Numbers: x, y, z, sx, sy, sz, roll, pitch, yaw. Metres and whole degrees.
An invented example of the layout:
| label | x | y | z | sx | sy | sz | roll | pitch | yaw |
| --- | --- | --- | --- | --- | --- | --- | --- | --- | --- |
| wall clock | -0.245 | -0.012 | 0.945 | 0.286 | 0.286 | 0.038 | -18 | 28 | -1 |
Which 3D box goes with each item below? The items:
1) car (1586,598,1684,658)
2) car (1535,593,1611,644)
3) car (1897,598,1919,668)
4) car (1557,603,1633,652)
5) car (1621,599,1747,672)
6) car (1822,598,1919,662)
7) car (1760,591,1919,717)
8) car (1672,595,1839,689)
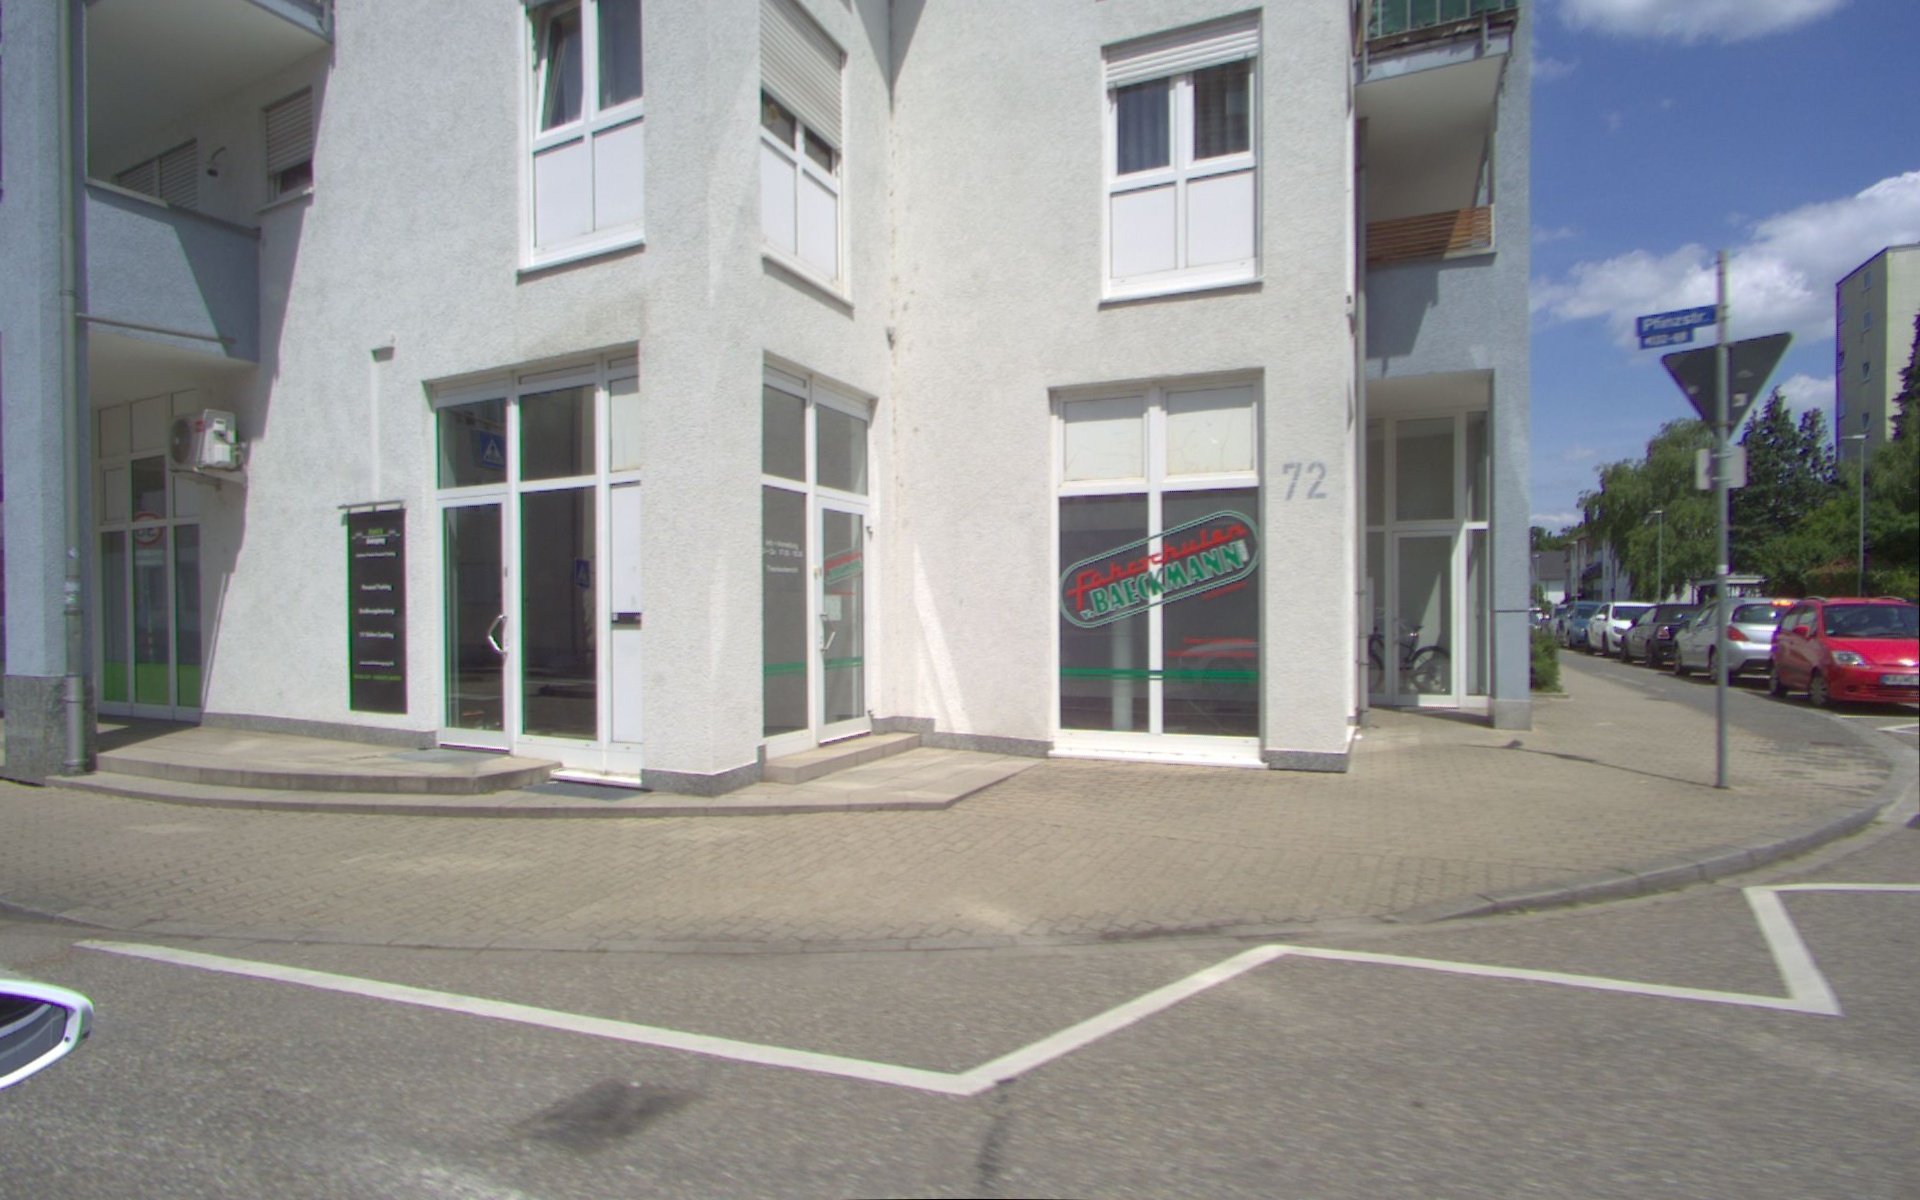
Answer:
| label | x | y | z | sx | sy | sz | roll | pitch | yaw |
| --- | --- | --- | --- | --- | --- | --- | --- | --- | --- |
| car | 17.867 | 0.720 | 26.656 | 1.627 | 1.486 | 3.571 | 0 | -1 | 25 |
| car | 22.448 | 0.684 | 36.823 | 1.968 | 1.777 | 3.987 | 0 | -1 | 26 |
| car | 22.102 | 0.726 | 21.687 | 1.510 | 1.578 | 3.774 | 0 | -1 | 25 |
| car | 20.245 | 0.854 | 32.048 | 1.627 | 1.486 | 3.571 | 0 | -1 | 25 |
| car | 16.143 | 0.753 | 22.514 | 1.627 | 1.486 | 3.773 | 0 | -1 | 25 |
| car | 24.422 | 0.774 | 26.445 | 1.510 | 1.578 | 3.774 | 0 | -1 | 25 |
| car | 12.578 | 0.680 | 13.920 | 1.571 | 1.561 | 3.505 | 0 | -1 | 27 |
| car | 14.031 | 0.696 | 17.877 | 1.511 | 1.486 | 3.773 | 0 | -1 | 25 |
